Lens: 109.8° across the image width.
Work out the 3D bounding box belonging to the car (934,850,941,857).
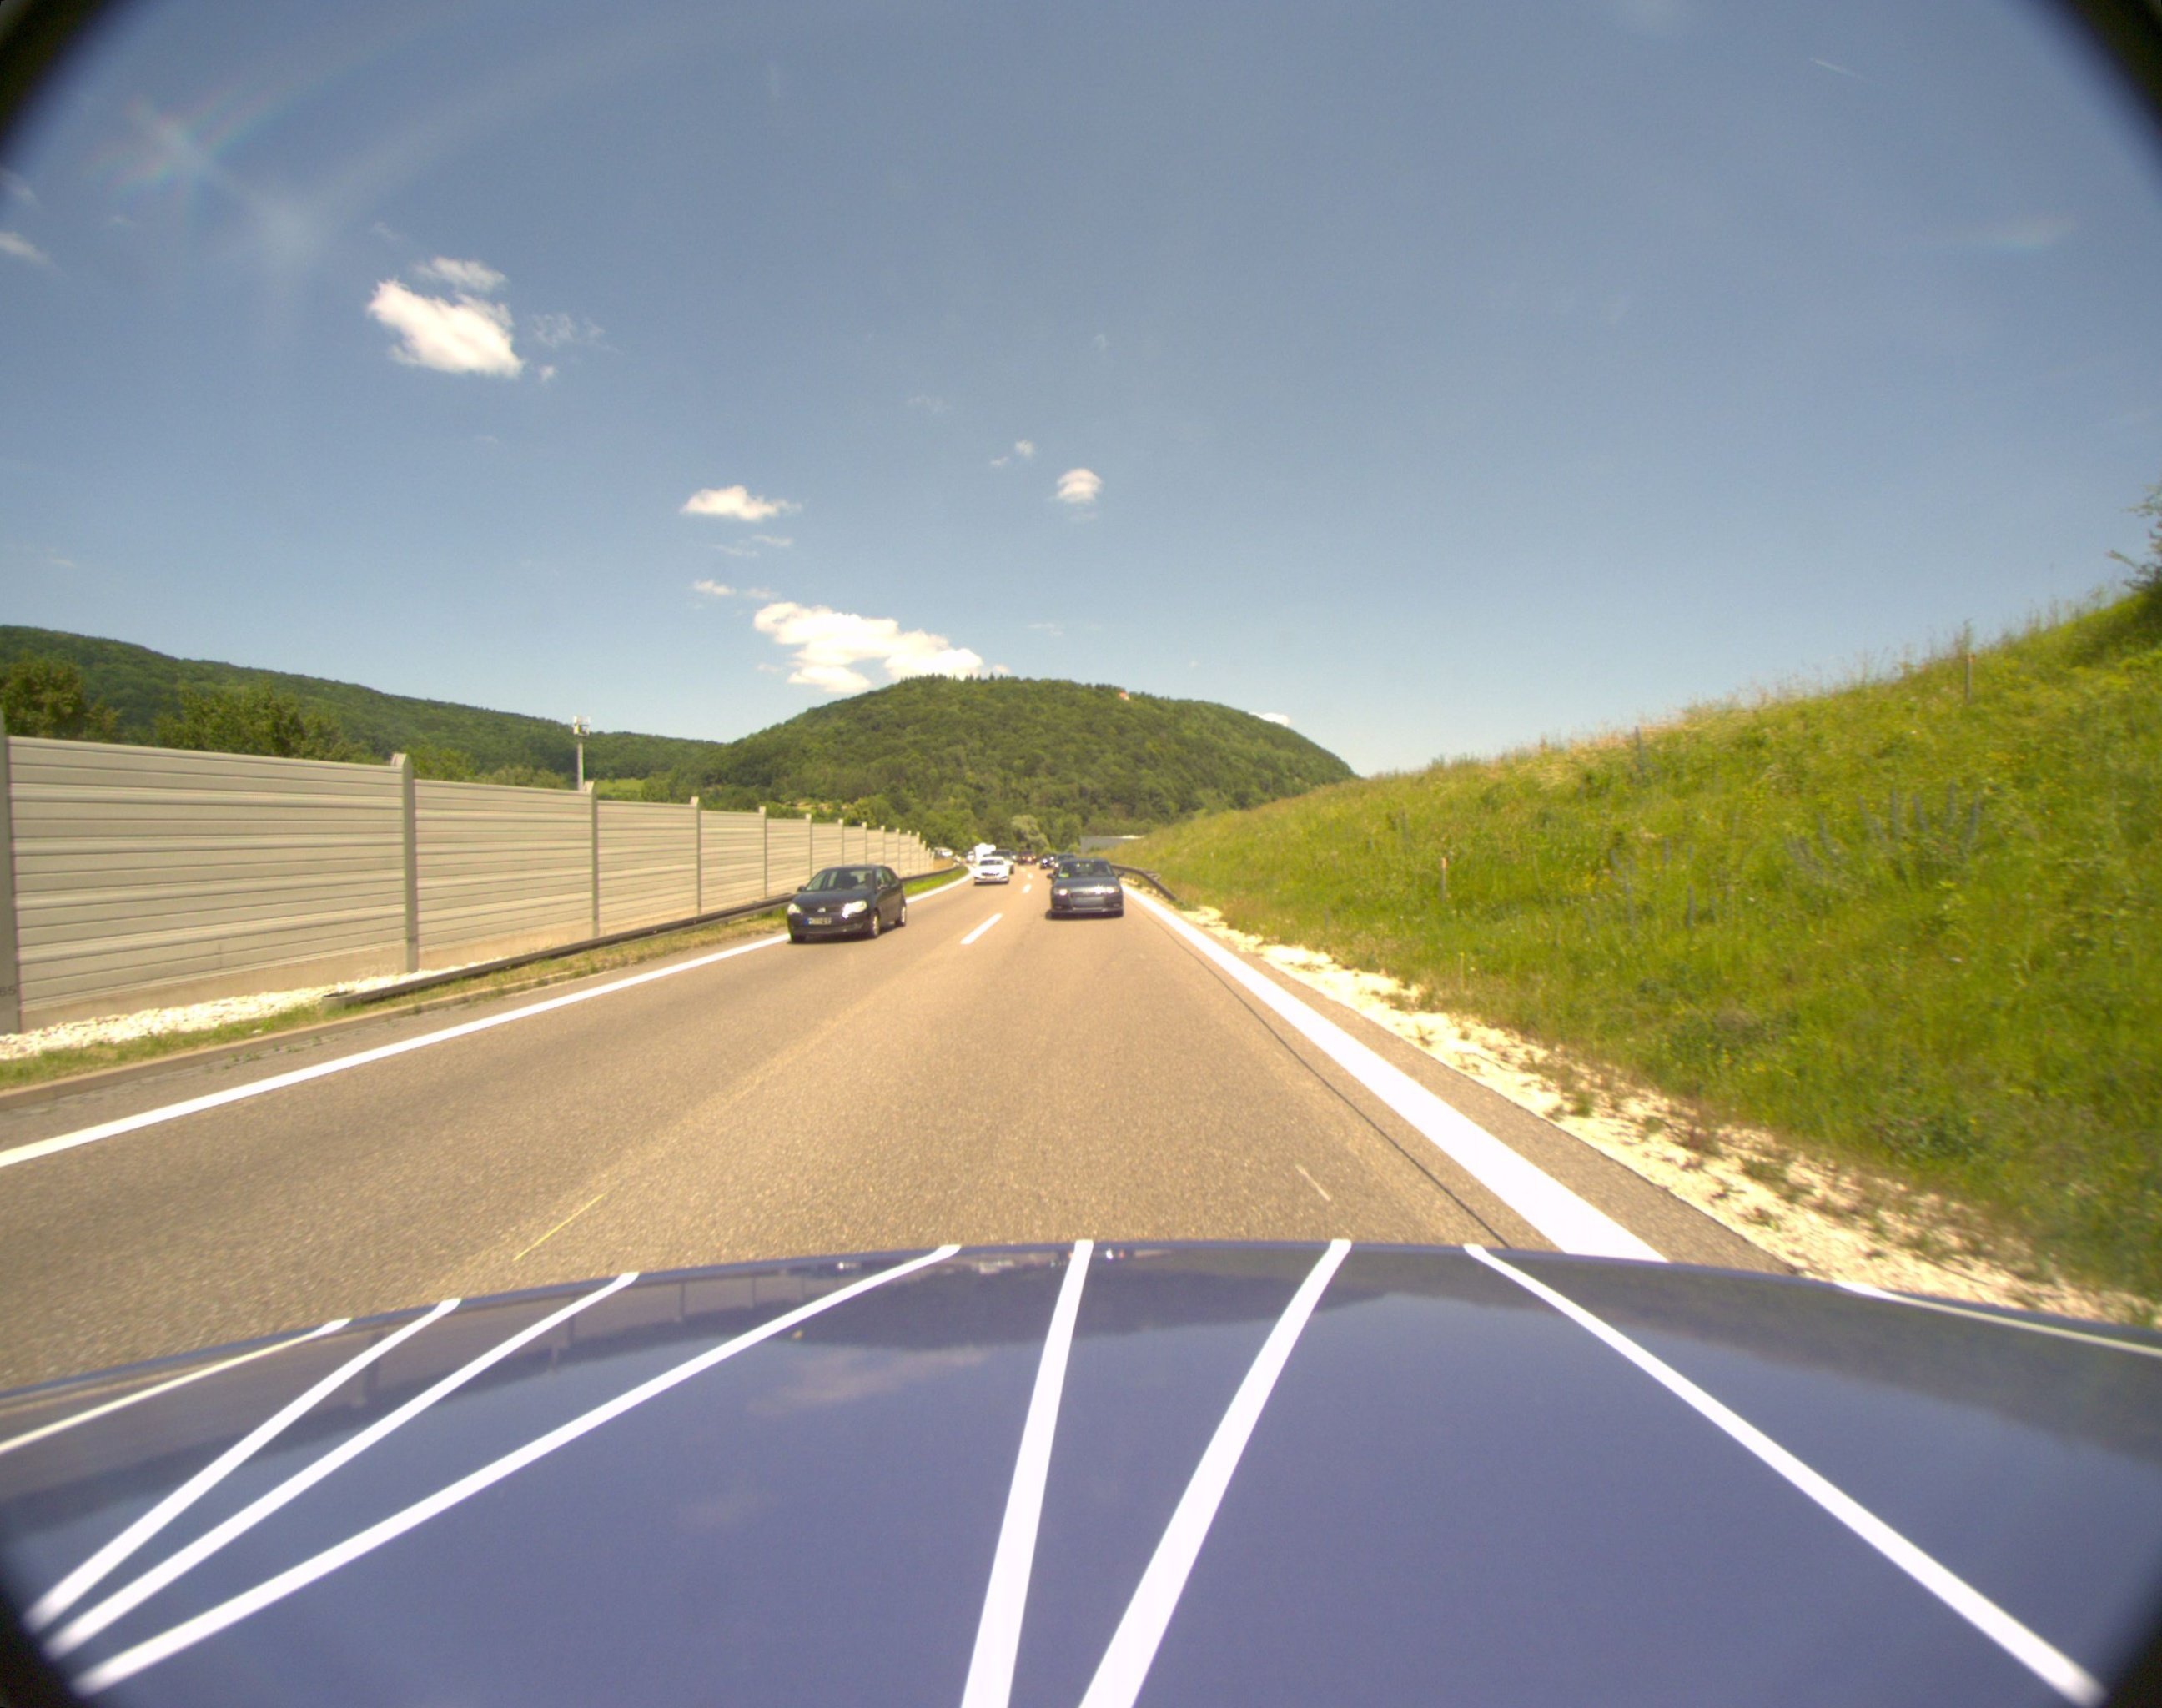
[{"bbox_3d":[-34.918,-0.065,184.639,1.247,1.470,2.956,-5,1,-18],"label":"car"}]

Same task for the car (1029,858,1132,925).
[{"bbox_3d":[-0.134,0.836,18.924,1.757,1.382,4.051,-3,1,-11],"label":"car"}]

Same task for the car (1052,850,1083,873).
[{"bbox_3d":[-0.962,0.475,51.317,1.697,1.422,3.460,-3,1,-7],"label":"car"}]

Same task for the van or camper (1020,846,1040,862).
[{"bbox_3d":[-6.110,-0.003,90.691,1.819,1.856,3.608,-3,1,-14],"label":"van or camper"}]

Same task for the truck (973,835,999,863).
[{"bbox_3d":[-11.847,-0.614,94.484,2.604,3.090,6.851,-5,1,-11],"label":"truck"}]

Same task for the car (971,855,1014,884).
[{"bbox_3d":[-4.740,0.826,41.189,1.907,1.422,3.722,-2,-1,-1],"label":"car"}]

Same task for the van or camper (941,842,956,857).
[{"bbox_3d":[-26.735,-0.860,153.128,1.912,3.010,4.865,-2,1,-21],"label":"van or camper"}]

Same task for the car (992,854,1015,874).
[{"bbox_3d":[-5.664,0.698,55.990,1.489,1.375,3.737,0,1,-2],"label":"car"}]

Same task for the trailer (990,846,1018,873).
[{"bbox_3d":[-6.062,0.406,59.750,2.000,1.958,3.997,-3,1,-7],"label":"trailer"}]

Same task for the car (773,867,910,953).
[{"bbox_3d":[-4.790,1.043,15.739,1.696,1.414,3.837,-1,1,-2],"label":"car"}]

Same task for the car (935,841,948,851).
[{"bbox_3d":[-29.765,-1.670,162.042,2.001,2.002,3.993,-4,2,-20],"label":"car"}]

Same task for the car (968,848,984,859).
[{"bbox_3d":[-16.013,-0.050,115.896,1.701,1.524,3.674,-5,1,-18],"label":"car"}]

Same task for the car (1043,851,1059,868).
[{"bbox_3d":[-2.670,0.460,68.034,1.287,1.305,3.451,-4,1,-2],"label":"car"}]
